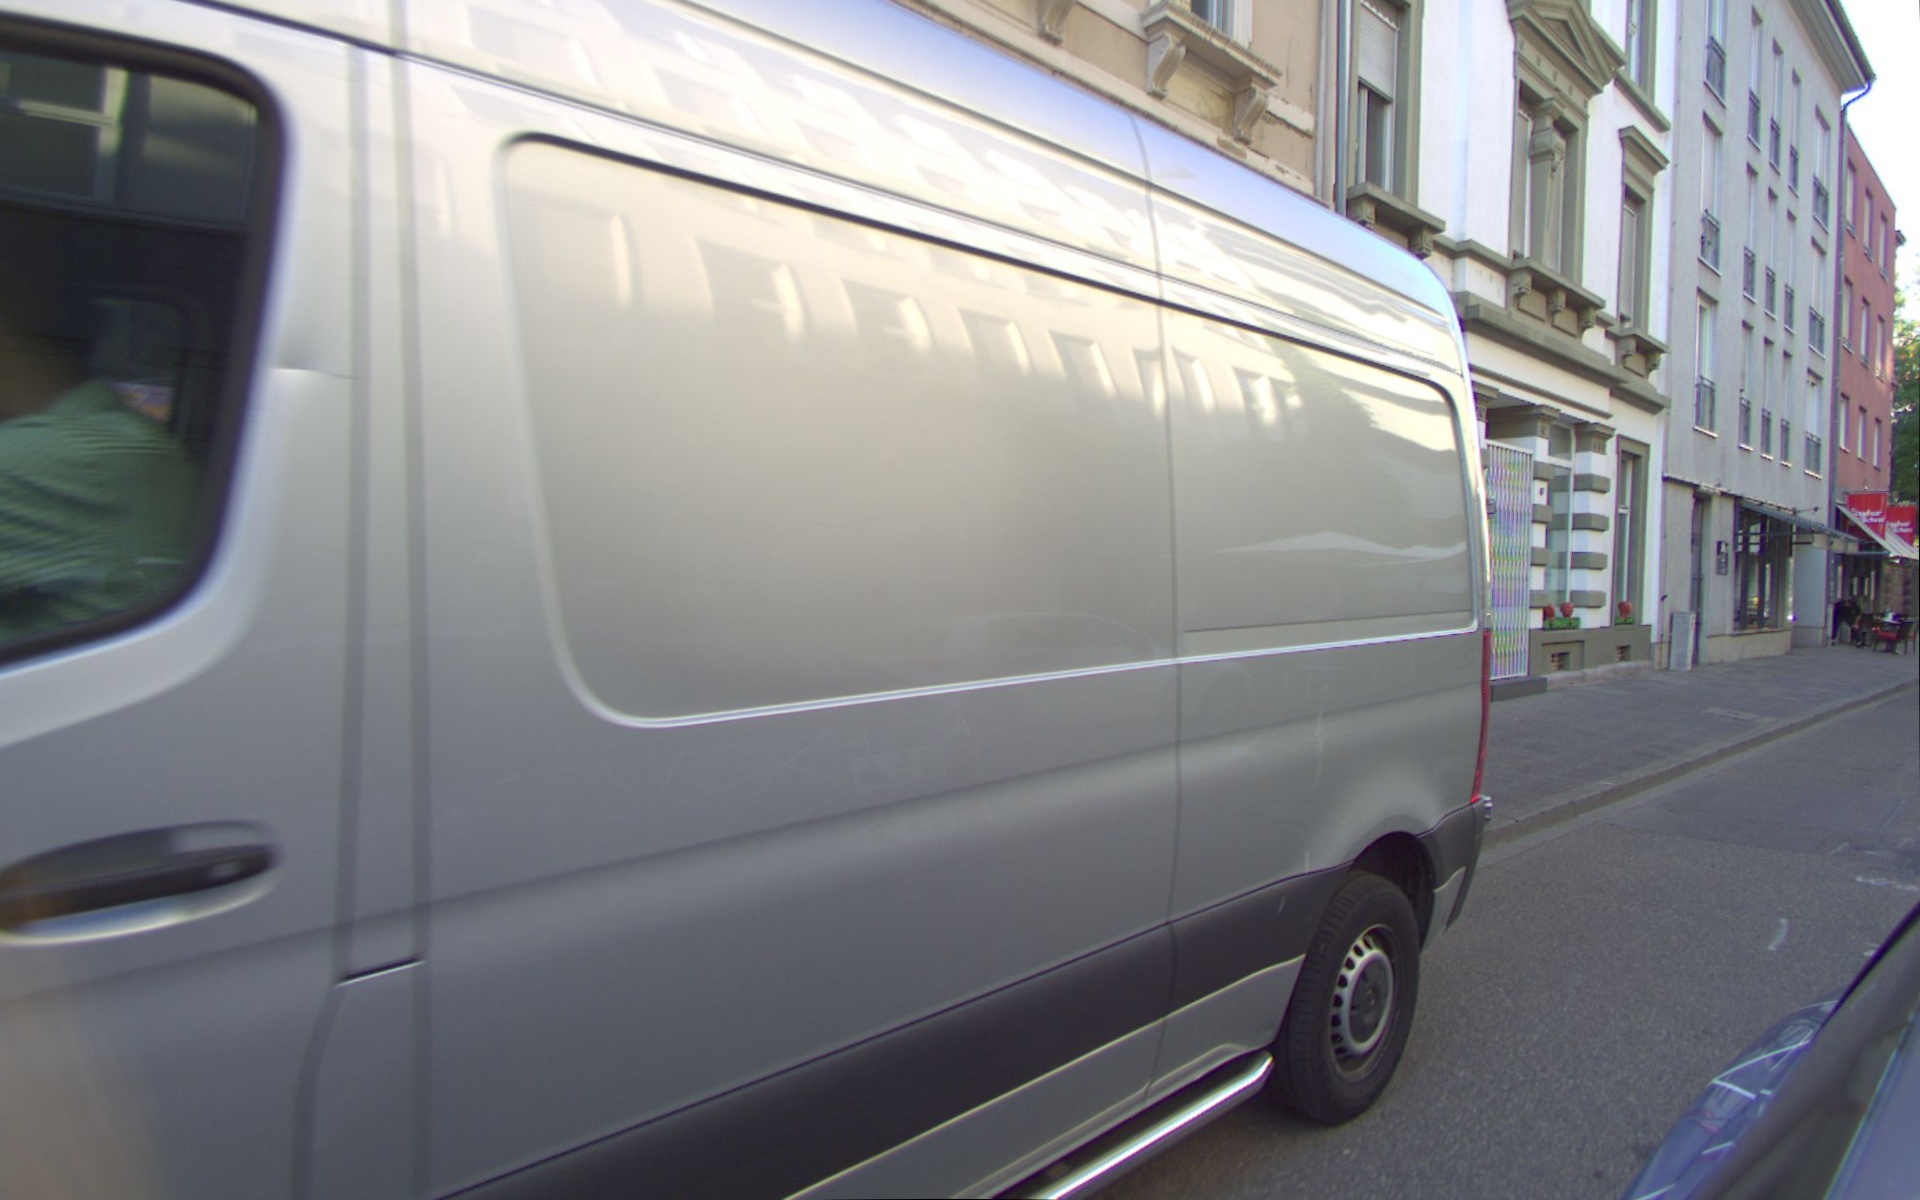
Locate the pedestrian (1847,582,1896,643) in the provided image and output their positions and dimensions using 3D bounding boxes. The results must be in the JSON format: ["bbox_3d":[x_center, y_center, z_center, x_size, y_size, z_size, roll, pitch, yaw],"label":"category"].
[{"bbox_3d":[23.253,0.310,25.823,0.649,1.504,0.826,0,1,-41],"label":"pedestrian"}]

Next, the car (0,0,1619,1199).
[{"bbox_3d":[-0.876,0.084,2.346,6.092,2.470,2.282,0,1,-39],"label":"car"}]

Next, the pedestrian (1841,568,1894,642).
[{"bbox_3d":[23.005,0.112,25.663,0.652,1.814,0.726,4,3,21],"label":"pedestrian"}]
